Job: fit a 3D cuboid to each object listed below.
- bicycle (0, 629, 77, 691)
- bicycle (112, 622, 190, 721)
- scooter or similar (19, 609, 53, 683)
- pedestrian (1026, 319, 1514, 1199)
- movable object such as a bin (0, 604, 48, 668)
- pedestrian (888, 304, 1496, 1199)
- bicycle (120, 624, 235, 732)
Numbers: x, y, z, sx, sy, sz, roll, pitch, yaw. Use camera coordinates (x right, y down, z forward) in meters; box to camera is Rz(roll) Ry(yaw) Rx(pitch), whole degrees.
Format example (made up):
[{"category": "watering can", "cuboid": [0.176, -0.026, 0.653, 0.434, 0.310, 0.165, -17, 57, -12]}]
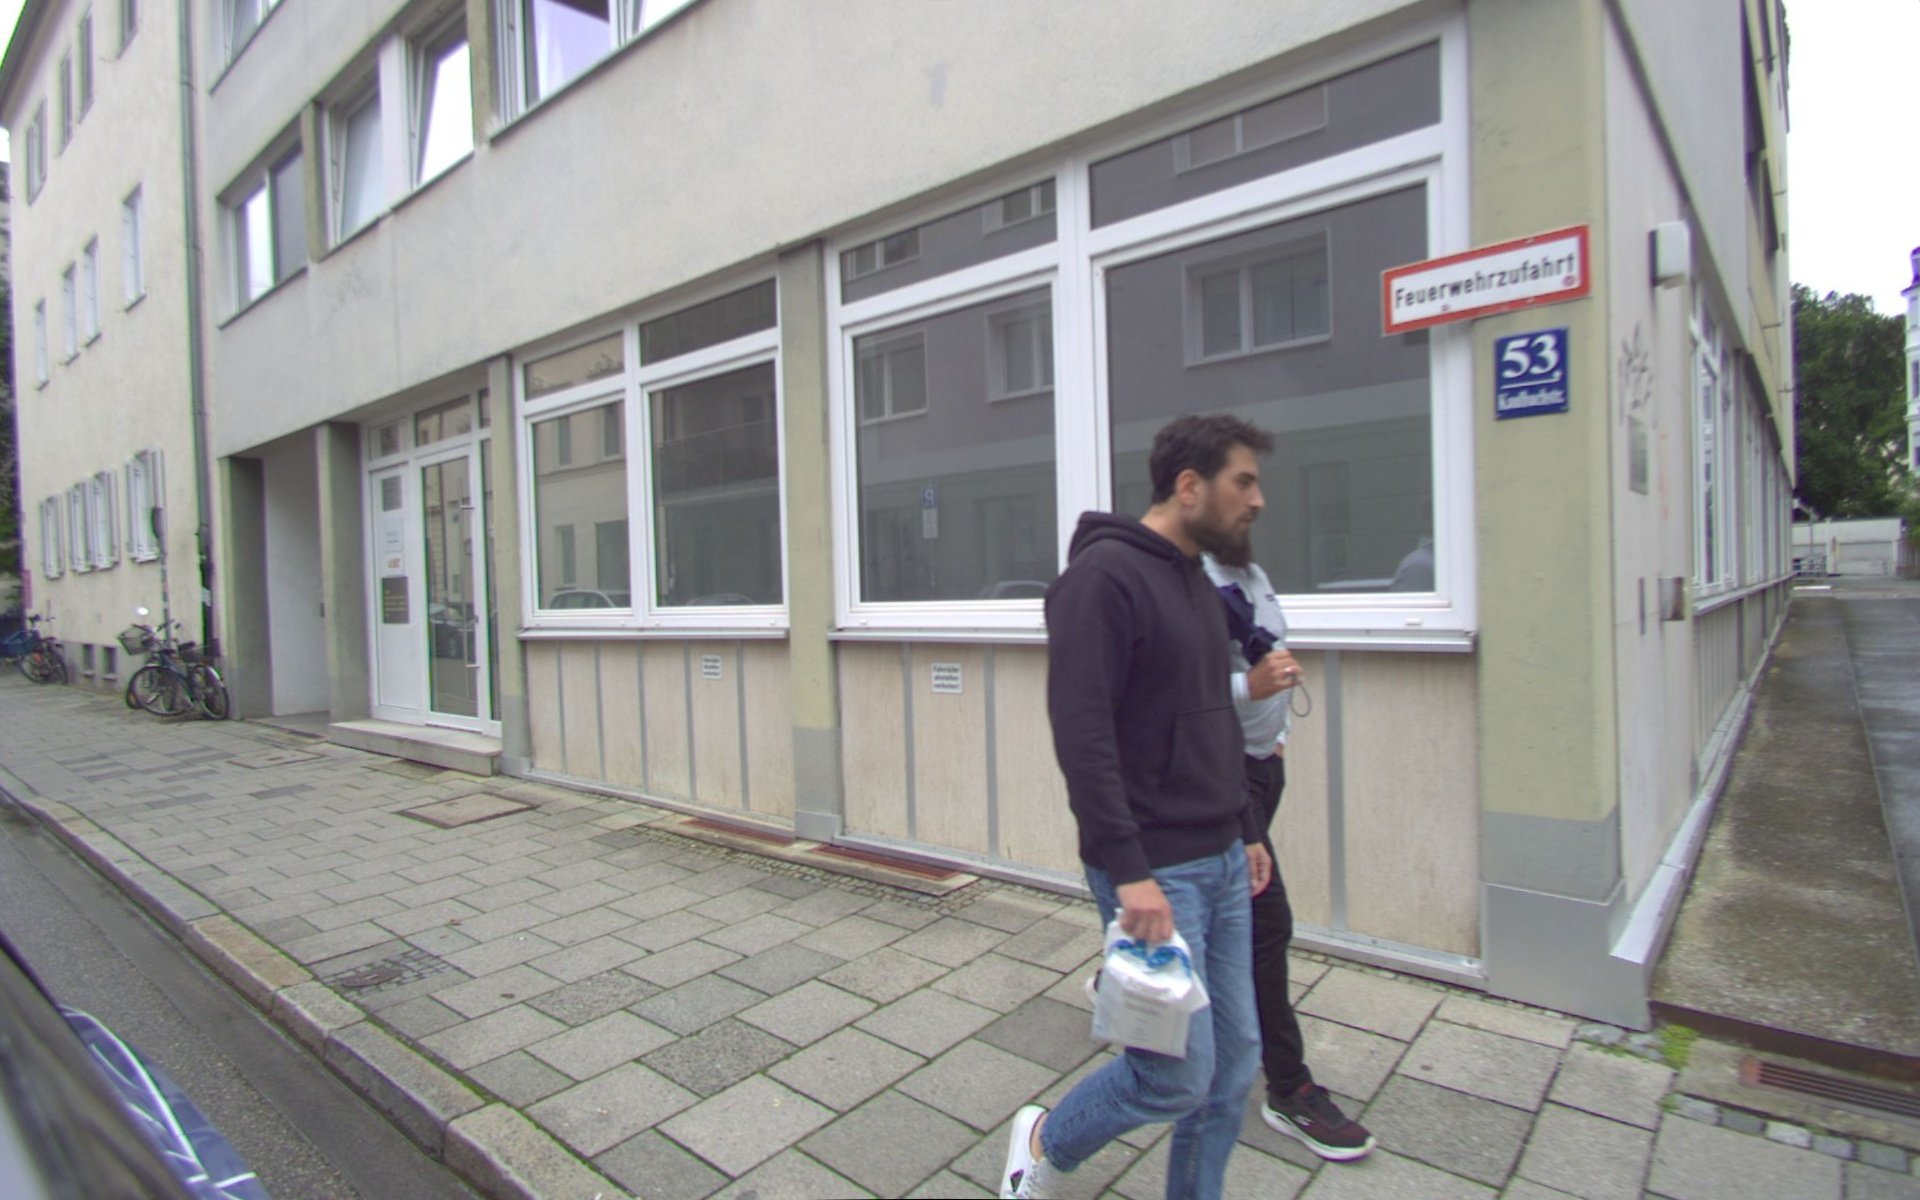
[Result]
[{"category": "bicycle", "cuboid": [-16.733, 1.054, 18.297, 1.819, 0.991, 0.697, -1, 5, 37]}, {"category": "bicycle", "cuboid": [-10.477, 0.888, 13.094, 1.605, 1.168, 0.453, -1, 3, 42]}, {"category": "scooter or similar", "cuboid": [-17.902, 0.877, 19.600, 1.238, 1.386, 0.314, -1, 0, 41]}, {"category": "pedestrian", "cuboid": [0.776, 0.350, 2.533, 0.916, 1.810, 0.711, -1, 3, 41]}, {"category": "movable object such as a bin", "cuboid": [-23.549, 0.907, 25.140, 1.161, 1.452, 1.250, -9, 4, -43]}, {"category": "pedestrian", "cuboid": [0.447, 0.481, 1.906, 0.837, 1.778, 0.711, -1, 3, 41]}, {"category": "bicycle", "cuboid": [-9.229, 0.876, 11.916, 1.717, 1.168, 0.557, -1, 1, 35]}]
